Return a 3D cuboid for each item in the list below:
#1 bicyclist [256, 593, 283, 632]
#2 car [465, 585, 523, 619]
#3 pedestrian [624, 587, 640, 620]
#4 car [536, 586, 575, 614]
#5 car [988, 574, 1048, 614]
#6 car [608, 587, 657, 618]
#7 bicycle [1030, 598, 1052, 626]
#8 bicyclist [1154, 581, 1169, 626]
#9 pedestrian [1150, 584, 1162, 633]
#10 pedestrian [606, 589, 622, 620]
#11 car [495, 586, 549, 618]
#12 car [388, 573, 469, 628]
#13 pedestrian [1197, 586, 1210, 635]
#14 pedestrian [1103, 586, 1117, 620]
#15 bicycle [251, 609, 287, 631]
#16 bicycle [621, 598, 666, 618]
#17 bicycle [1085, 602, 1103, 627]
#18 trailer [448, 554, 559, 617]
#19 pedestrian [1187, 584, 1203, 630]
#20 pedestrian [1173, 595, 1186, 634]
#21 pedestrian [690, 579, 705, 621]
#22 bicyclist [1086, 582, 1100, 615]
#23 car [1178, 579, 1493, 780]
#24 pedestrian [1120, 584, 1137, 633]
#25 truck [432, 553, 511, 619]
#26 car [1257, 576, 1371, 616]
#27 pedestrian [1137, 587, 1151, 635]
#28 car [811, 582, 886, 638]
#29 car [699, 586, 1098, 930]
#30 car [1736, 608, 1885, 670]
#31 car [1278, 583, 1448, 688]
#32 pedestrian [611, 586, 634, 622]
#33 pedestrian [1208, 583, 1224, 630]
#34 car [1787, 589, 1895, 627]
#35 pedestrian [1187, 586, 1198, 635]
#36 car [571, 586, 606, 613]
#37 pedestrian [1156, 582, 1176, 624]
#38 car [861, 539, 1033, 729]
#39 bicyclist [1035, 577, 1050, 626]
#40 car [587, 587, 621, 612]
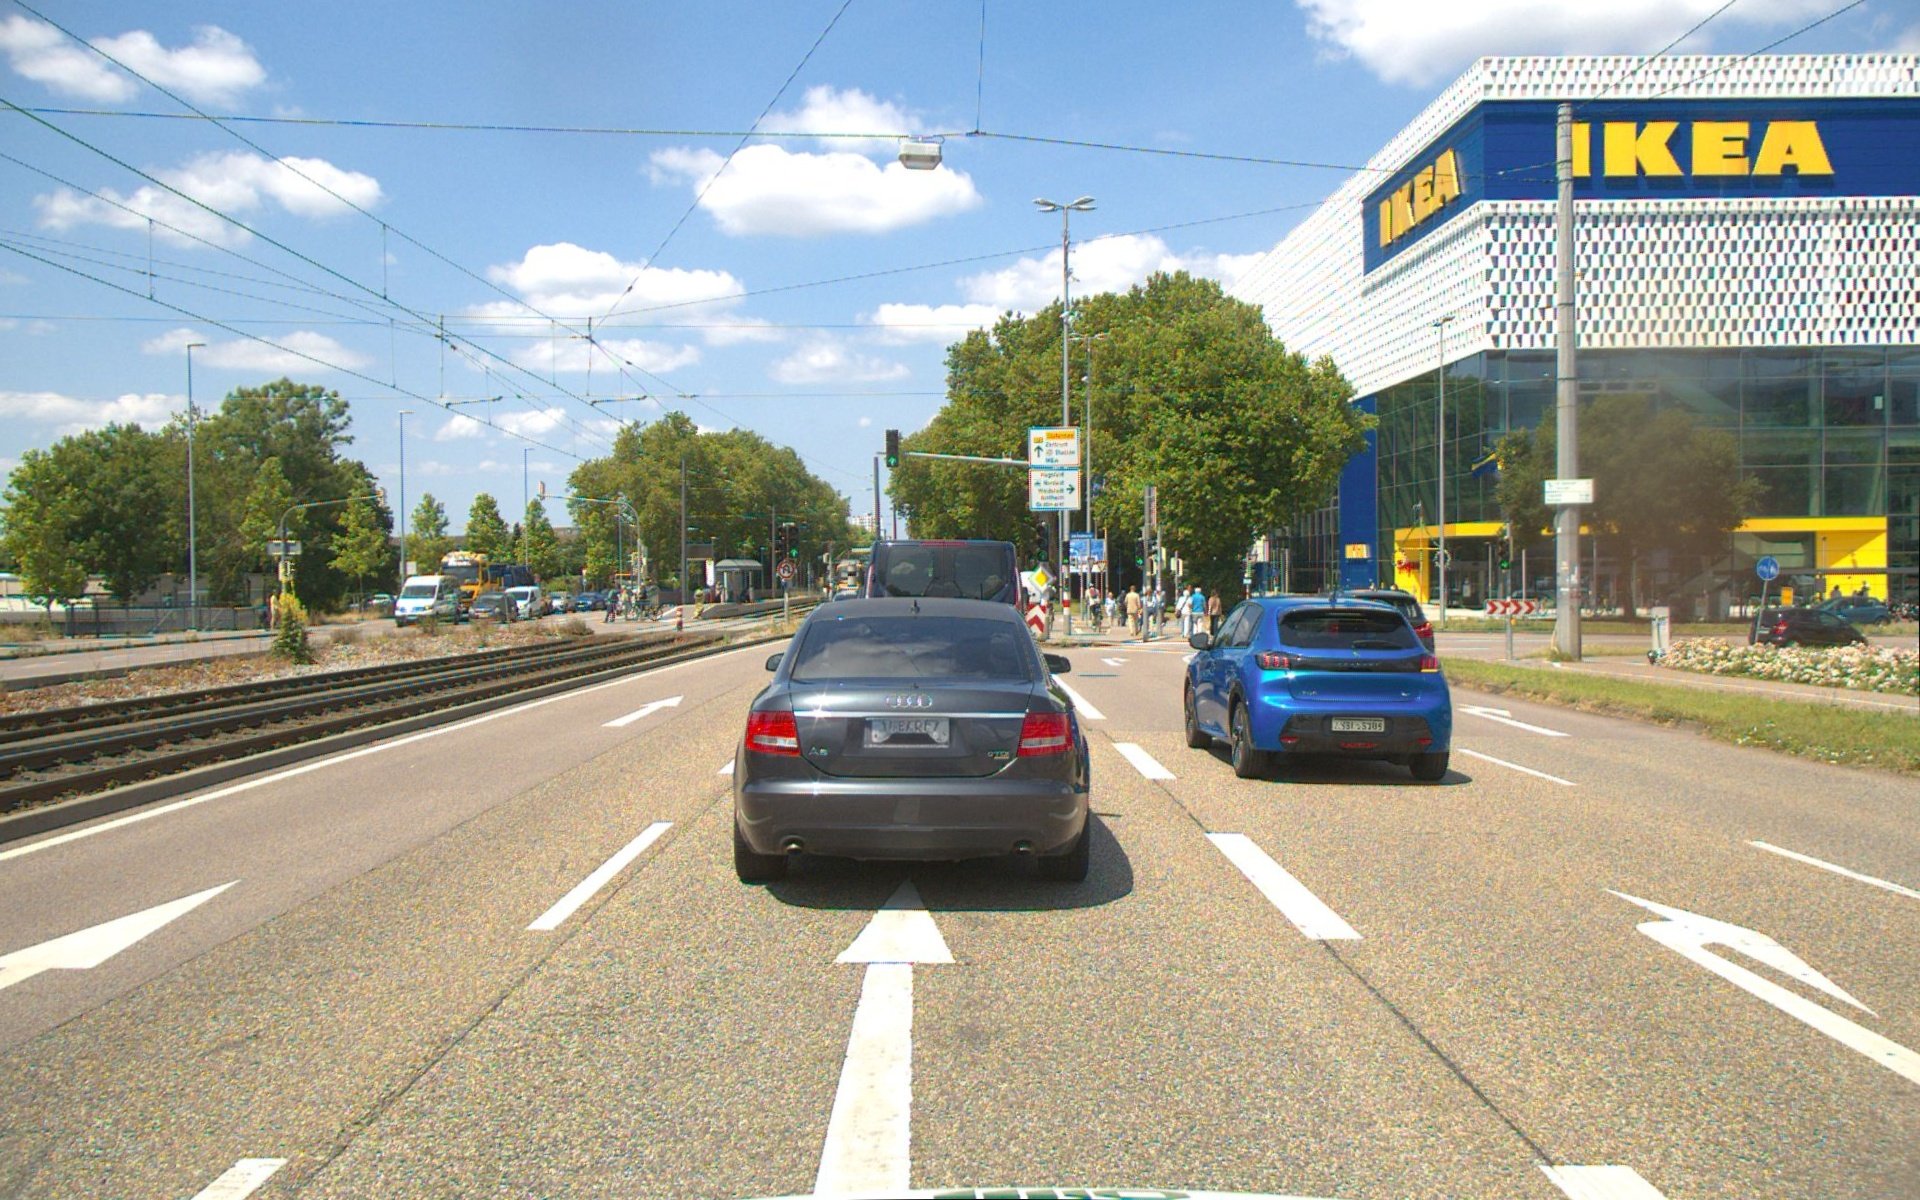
[{"bbox_3d":[-32.311,0.579,77.391,1.097,1.805,0.340,1,0,-6],"label":"bicyclist"},{"bbox_3d":[-24.121,0.083,85.745,1.785,1.699,4.461,1,1,-1],"label":"car"},{"bbox_3d":[-15.768,0.178,79.471,0.671,1.592,0.572,0,0,-4],"label":"pedestrian"},{"bbox_3d":[-27.874,-0.027,114.066,1.781,1.916,3.999,0,0,-1],"label":"car"},{"bbox_3d":[3.440,-0.360,98.923,1.964,2.349,4.747,0,0,-20],"label":"car"},{"bbox_3d":[-19.162,0.113,96.968,1.784,1.699,4.462,1,1,2],"label":"car"},{"bbox_3d":[3.031,0.444,62.104,0.673,1.011,2.751,1,0,0],"label":"bicycle"},{"bbox_3d":[8.144,0.137,66.913,0.517,1.795,0.828,0,0,13],"label":"bicyclist"},{"bbox_3d":[6.754,0.298,56.899,0.373,1.663,0.377,1,0,2],"label":"pedestrian"},{"bbox_3d":[-16.392,0.231,78.350,0.671,1.468,0.572,0,0,-4],"label":"pedestrian"},{"bbox_3d":[-24.481,0.063,92.533,1.785,1.699,4.462,1,1,1],"label":"car"},{"bbox_3d":[-27.571,-0.013,86.016,2.198,2.634,6.233,-2,1,-2],"label":"car"},{"bbox_3d":[8.286,0.351,56.262,0.389,1.663,0.371,1,0,2],"label":"pedestrian"},{"bbox_3d":[6.786,0.138,74.944,0.483,1.546,0.707,1,0,17],"label":"pedestrian"},{"bbox_3d":[-32.349,0.943,77.398,1.461,1.004,0.485,1,0,-5],"label":"bicycle"},{"bbox_3d":[-14.810,0.372,77.464,2.019,0.941,0.751,0,0,-11],"label":"bicycle"},{"bbox_3d":[4.950,0.543,61.080,0.538,0.892,1.697,1,0,0],"label":"bicycle"},{"bbox_3d":[-28.007,-0.891,102.464,2.711,3.580,15.875,0,0,-1],"label":"trailer"},{"bbox_3d":[8.501,0.247,59.856,0.493,1.663,0.449,1,0,2],"label":"pedestrian"},{"bbox_3d":[7.468,0.488,56.278,0.365,1.326,0.365,1,0,2],"label":"pedestrian"},{"bbox_3d":[-12.807,-0.020,80.705,0.672,2.049,0.572,0,0,-5],"label":"pedestrian"},{"bbox_3d":[4.944,-0.059,61.514,0.461,1.214,0.791,0,0,0],"label":"bicyclist"},{"bbox_3d":[3.124,0.582,14.592,1.800,1.480,4.000,2,1,-1],"label":"car"},{"bbox_3d":[5.780,0.280,56.904,0.542,1.663,0.433,1,0,2],"label":"pedestrian"},{"bbox_3d":[-27.883,-0.799,94.663,2.711,3.631,6.438,0,0,-1],"label":"truck"},{"bbox_3d":[14.874,-0.171,69.608,4.403,1.512,2.001,2,1,3],"label":"car"},{"bbox_3d":[6.319,0.375,56.857,0.435,1.663,0.430,1,0,2],"label":"pedestrian"},{"bbox_3d":[-3.223,0.254,48.482,1.953,1.512,4.000,2,1,-1],"label":"car"},{"bbox_3d":[-0.293,0.689,9.388,1.756,1.480,4.000,-1,1,-1],"label":"car"},{"bbox_3d":[28.883,1.309,56.258,4.099,2.049,1.998,0,0,-4],"label":"car"},{"bbox_3d":[6.330,0.502,26.431,1.725,1.553,4.099,0,1,0],"label":"car"},{"bbox_3d":[-16.554,0.171,81.114,0.806,1.750,0.775,1,0,21],"label":"pedestrian"},{"bbox_3d":[9.275,0.242,59.841,0.510,1.699,0.494,1,0,2],"label":"pedestrian"},{"bbox_3d":[38.815,0.340,72.944,3.710,1.512,2.001,2,1,3],"label":"car"},{"bbox_3d":[7.903,0.349,56.310,0.314,1.663,0.377,1,0,2],"label":"pedestrian"},{"bbox_3d":[-27.777,-0.057,123.715,1.781,1.916,3.999,0,0,-1],"label":"car"},{"bbox_3d":[9.144,0.129,73.523,0.671,1.878,0.706,1,0,25],"label":"pedestrian"},{"bbox_3d":[-0.165,0.350,19.327,1.799,1.984,3.999,0,0,-1],"label":"car"},{"bbox_3d":[3.089,0.038,62.102,0.518,1.820,1.088,0,0,0],"label":"bicyclist"},{"bbox_3d":[-27.770,-0.069,129.060,1.781,1.916,3.999,0,0,-1],"label":"car"}]
